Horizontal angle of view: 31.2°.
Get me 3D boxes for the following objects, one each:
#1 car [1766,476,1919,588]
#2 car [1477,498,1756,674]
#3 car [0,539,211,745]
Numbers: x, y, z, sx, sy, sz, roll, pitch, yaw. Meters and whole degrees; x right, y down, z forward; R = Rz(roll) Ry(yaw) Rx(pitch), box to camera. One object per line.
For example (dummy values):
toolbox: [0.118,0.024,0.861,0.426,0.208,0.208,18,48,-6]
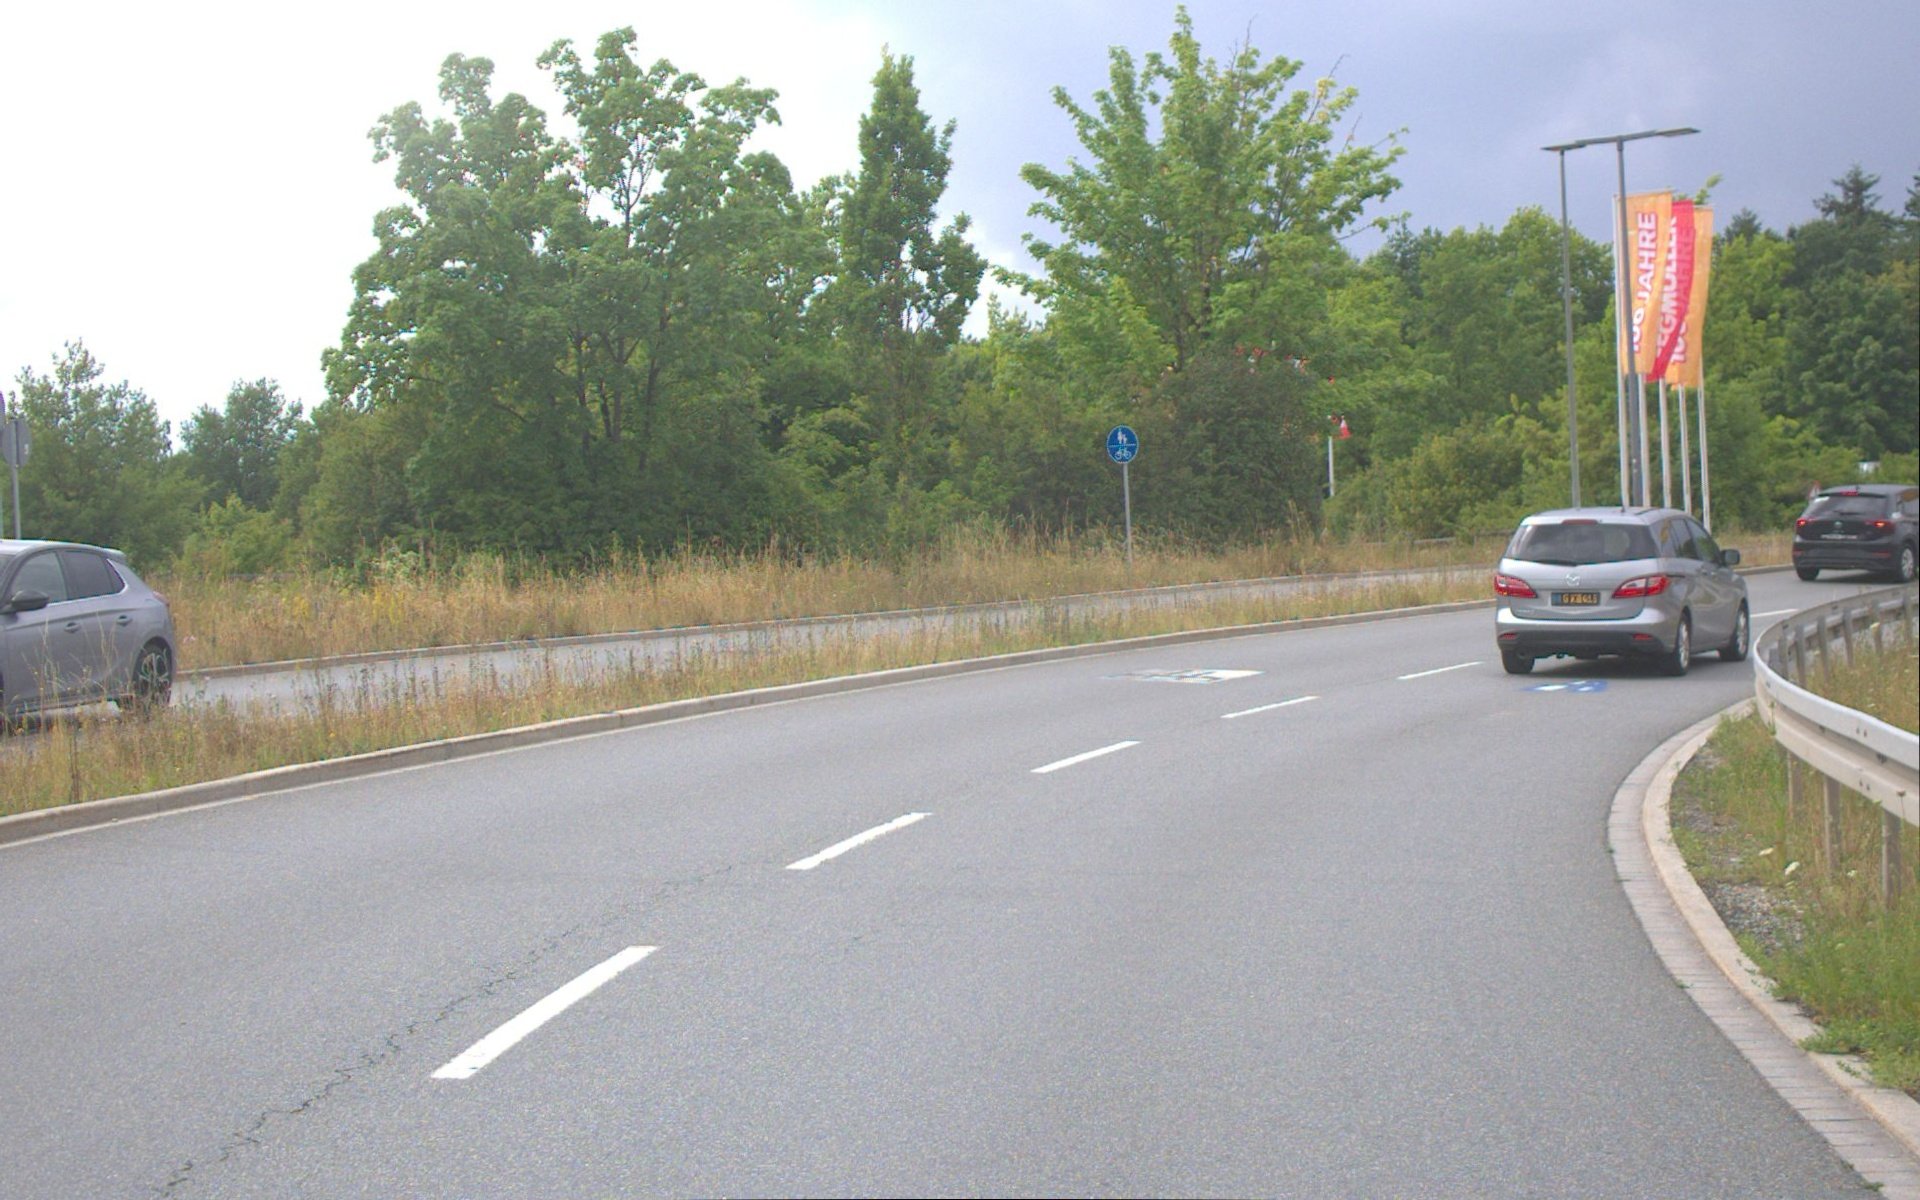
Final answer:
car: [13.816,-1.037,52.148,1.872,1.600,3.728,-1,1,34]
car: [6.515,-0.164,33.832,1.769,1.611,3.916,-1,1,25]
car: [-7.363,0.298,25.847,1.460,1.481,4.092,-1,1,19]
